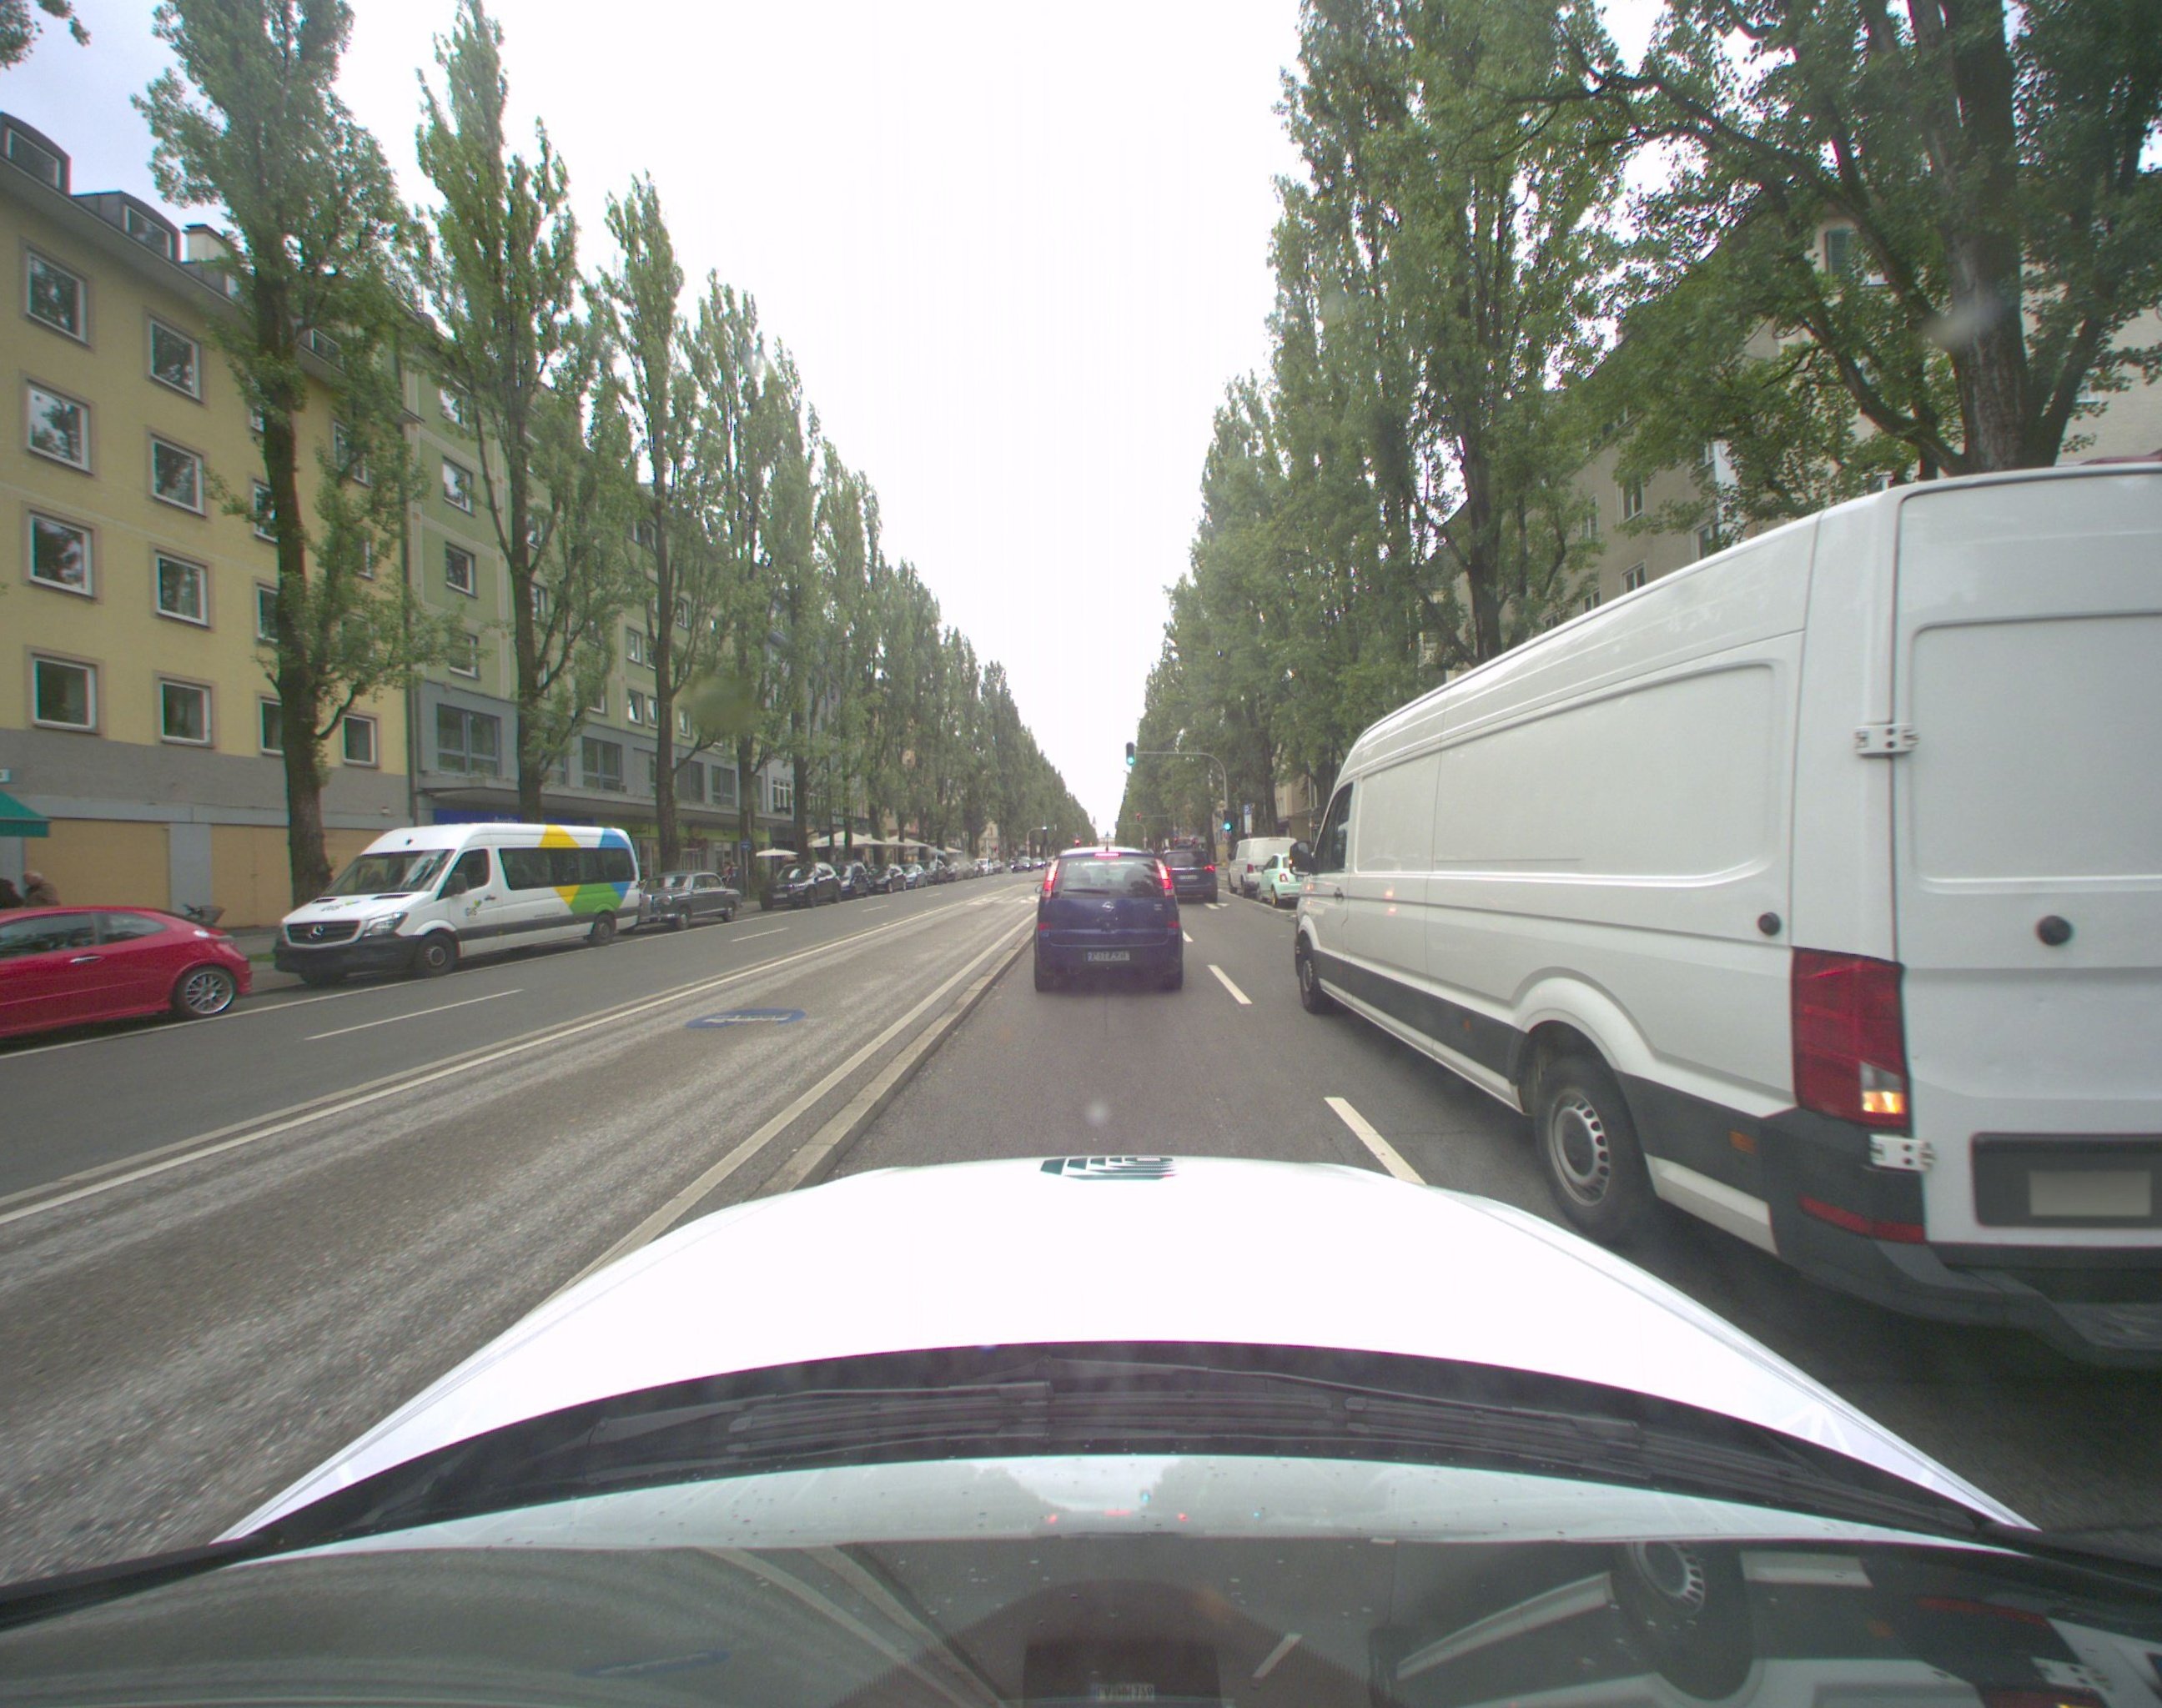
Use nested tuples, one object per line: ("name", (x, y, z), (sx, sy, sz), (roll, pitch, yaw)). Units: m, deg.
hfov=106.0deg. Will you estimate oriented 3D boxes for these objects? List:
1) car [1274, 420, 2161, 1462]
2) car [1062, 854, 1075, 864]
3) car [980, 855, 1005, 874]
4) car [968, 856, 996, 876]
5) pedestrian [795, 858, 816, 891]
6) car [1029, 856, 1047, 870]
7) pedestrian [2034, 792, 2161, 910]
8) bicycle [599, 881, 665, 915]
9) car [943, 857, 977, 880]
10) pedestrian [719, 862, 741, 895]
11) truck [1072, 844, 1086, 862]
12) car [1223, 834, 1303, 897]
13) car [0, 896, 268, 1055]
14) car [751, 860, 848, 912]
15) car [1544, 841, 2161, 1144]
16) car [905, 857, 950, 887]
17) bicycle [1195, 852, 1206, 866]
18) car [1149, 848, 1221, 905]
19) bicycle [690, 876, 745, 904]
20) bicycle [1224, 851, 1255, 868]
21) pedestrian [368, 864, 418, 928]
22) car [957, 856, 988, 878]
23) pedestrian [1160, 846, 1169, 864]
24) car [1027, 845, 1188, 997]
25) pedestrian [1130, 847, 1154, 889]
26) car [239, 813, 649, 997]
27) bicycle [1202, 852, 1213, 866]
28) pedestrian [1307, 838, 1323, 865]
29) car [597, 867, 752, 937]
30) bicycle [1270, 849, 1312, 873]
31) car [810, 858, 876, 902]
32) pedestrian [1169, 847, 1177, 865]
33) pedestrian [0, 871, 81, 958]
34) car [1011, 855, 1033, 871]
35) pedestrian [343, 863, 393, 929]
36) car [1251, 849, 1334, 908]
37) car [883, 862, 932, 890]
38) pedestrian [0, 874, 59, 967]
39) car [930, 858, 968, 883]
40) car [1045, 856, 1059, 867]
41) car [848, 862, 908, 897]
("car", (2.981, 0.187, 5.311), (2.055, 2.492, 6.734), (-1, 0, 2))
("car", (-1.943, 0.826, 128.860), (1.728, 1.465, 3.367), (-2, 0, 2))
("car", (-8.846, 1.035, 82.053), (1.859, 1.665, 4.122), (-4, 0, 2))
("car", (-9.086, 1.048, 74.778), (1.859, 1.665, 4.122), (-4, 0, 2))
("pedestrian", (-14.414, 1.075, 42.614), (0.753, 1.686, 0.675), (-3, -1, 3))
("car", (-5.090, 1.061, 96.557), (1.739, 1.434, 4.131), (-4, 0, 2))
("pedestrian", (15.315, -0.045, 12.286), (0.794, 1.677, 0.877), (-2, 0, 1))
("bicycle", (-15.122, 1.469, 27.450), (1.860, 1.095, 0.720), (0, 0, 4))
("car", (-9.472, 1.110, 63.992), (1.859, 1.665, 4.122), (-4, 0, 2))
("pedestrian", (-18.654, 1.292, 43.296), (0.753, 1.686, 0.675), (-3, -1, 3))
("truck", (-0.329, -0.166, 158.401), (2.374, 3.346, 7.114), (-2, 0, 2))
("car", (6.146, 0.362, 28.024), (1.781, 1.946, 4.732), (-2, 0, 2))
("car", (-11.450, 1.310, 8.439), (1.731, 1.419, 4.150), (-4, 0, 2))
("car", (-10.521, 1.142, 30.817), (1.859, 1.664, 4.613), (-4, 0, 2))
("car", (5.575, 0.639, 6.025), (1.705, 1.393, 4.340), (-1, 0, -2))
("car", (-9.862, 1.126, 52.759), (1.859, 1.665, 4.402), (-4, 0, 2))
("bicycle", (12.431, 0.523, 84.799), (0.769, 1.349, 2.450), (-2, 0, 1))
("car", (3.212, 0.649, 25.793), (1.889, 1.622, 4.002), (-1, 0, 2))
("bicycle", (-15.060, 1.491, 33.753), (1.943, 1.095, 0.718), (0, 0, -5))
("bicycle", (12.087, 0.437, 62.173), (2.220, 1.204, 0.626), (-3, 0, -1))
("pedestrian", (-19.210, 1.159, 22.741), (0.694, 1.700, 0.728), (-3, 0, 6))
("car", (-9.188, 1.090, 69.516), (1.859, 1.665, 4.122), (-4, 0, 2))
("pedestrian", (8.232, 0.103, 80.375), (0.719, 1.827, 0.885), (0, -1, -8))
("car", (0.354, 0.706, 10.622), (1.665, 1.568, 4.002), (-1, 0, 2))
("pedestrian", (2.527, 0.562, 33.693), (0.857, 1.684, 0.626), (-2, 0, -2))
("car", (-11.171, 0.736, 15.394), (1.998, 2.567, 6.915), (-4, 0, 2))
("bicycle", (12.207, 0.451, 78.580), (0.769, 1.349, 2.450), (-2, 0, 1))
("pedestrian", (15.094, -0.162, 52.524), (0.671, 1.686, 0.758), (-3, -1, -3))
("car", (-11.008, 1.229, 22.492), (1.859, 1.552, 4.416), (-4, 0, 2))
("bicycle", (11.851, 0.395, 45.977), (2.220, 1.204, 0.626), (-3, 0, -1))
("car", (-10.500, 1.121, 36.210), (1.704, 1.721, 3.920), (-4, 0, -1))
("pedestrian", (9.571, 0.179, 84.729), (0.636, 1.827, 0.885), (0, -1, -8))
("pedestrian", (-20.659, 1.179, 16.149), (0.694, 1.636, 0.727), (-3, 0, 4))
("car", (-5.984, 0.881, 83.643), (1.691, 1.462, 4.715), (-4, 0, 2))
("pedestrian", (-19.993, 1.159, 22.844), (0.694, 1.795, 0.728), (-3, 0, 6))
("car", (5.884, 0.642, 22.991), (1.535, 1.492, 3.525), (-1, 0, 3))
("car", (-9.963, 1.245, 47.091), (1.727, 1.425, 4.145), (-4, 0, 2))
("pedestrian", (-19.453, 1.208, 14.926), (0.691, 1.636, 0.731), (-3, 0, 26))
("car", (-9.554, 1.171, 59.210), (1.859, 1.665, 4.122), (-4, 0, 2))
("car", (-4.410, 1.115, 124.861), (1.859, 1.665, 4.122), (-2, 0, 2))
("car", (-10.266, 1.249, 41.506), (1.792, 1.488, 4.352), (-4, 0, 2))
